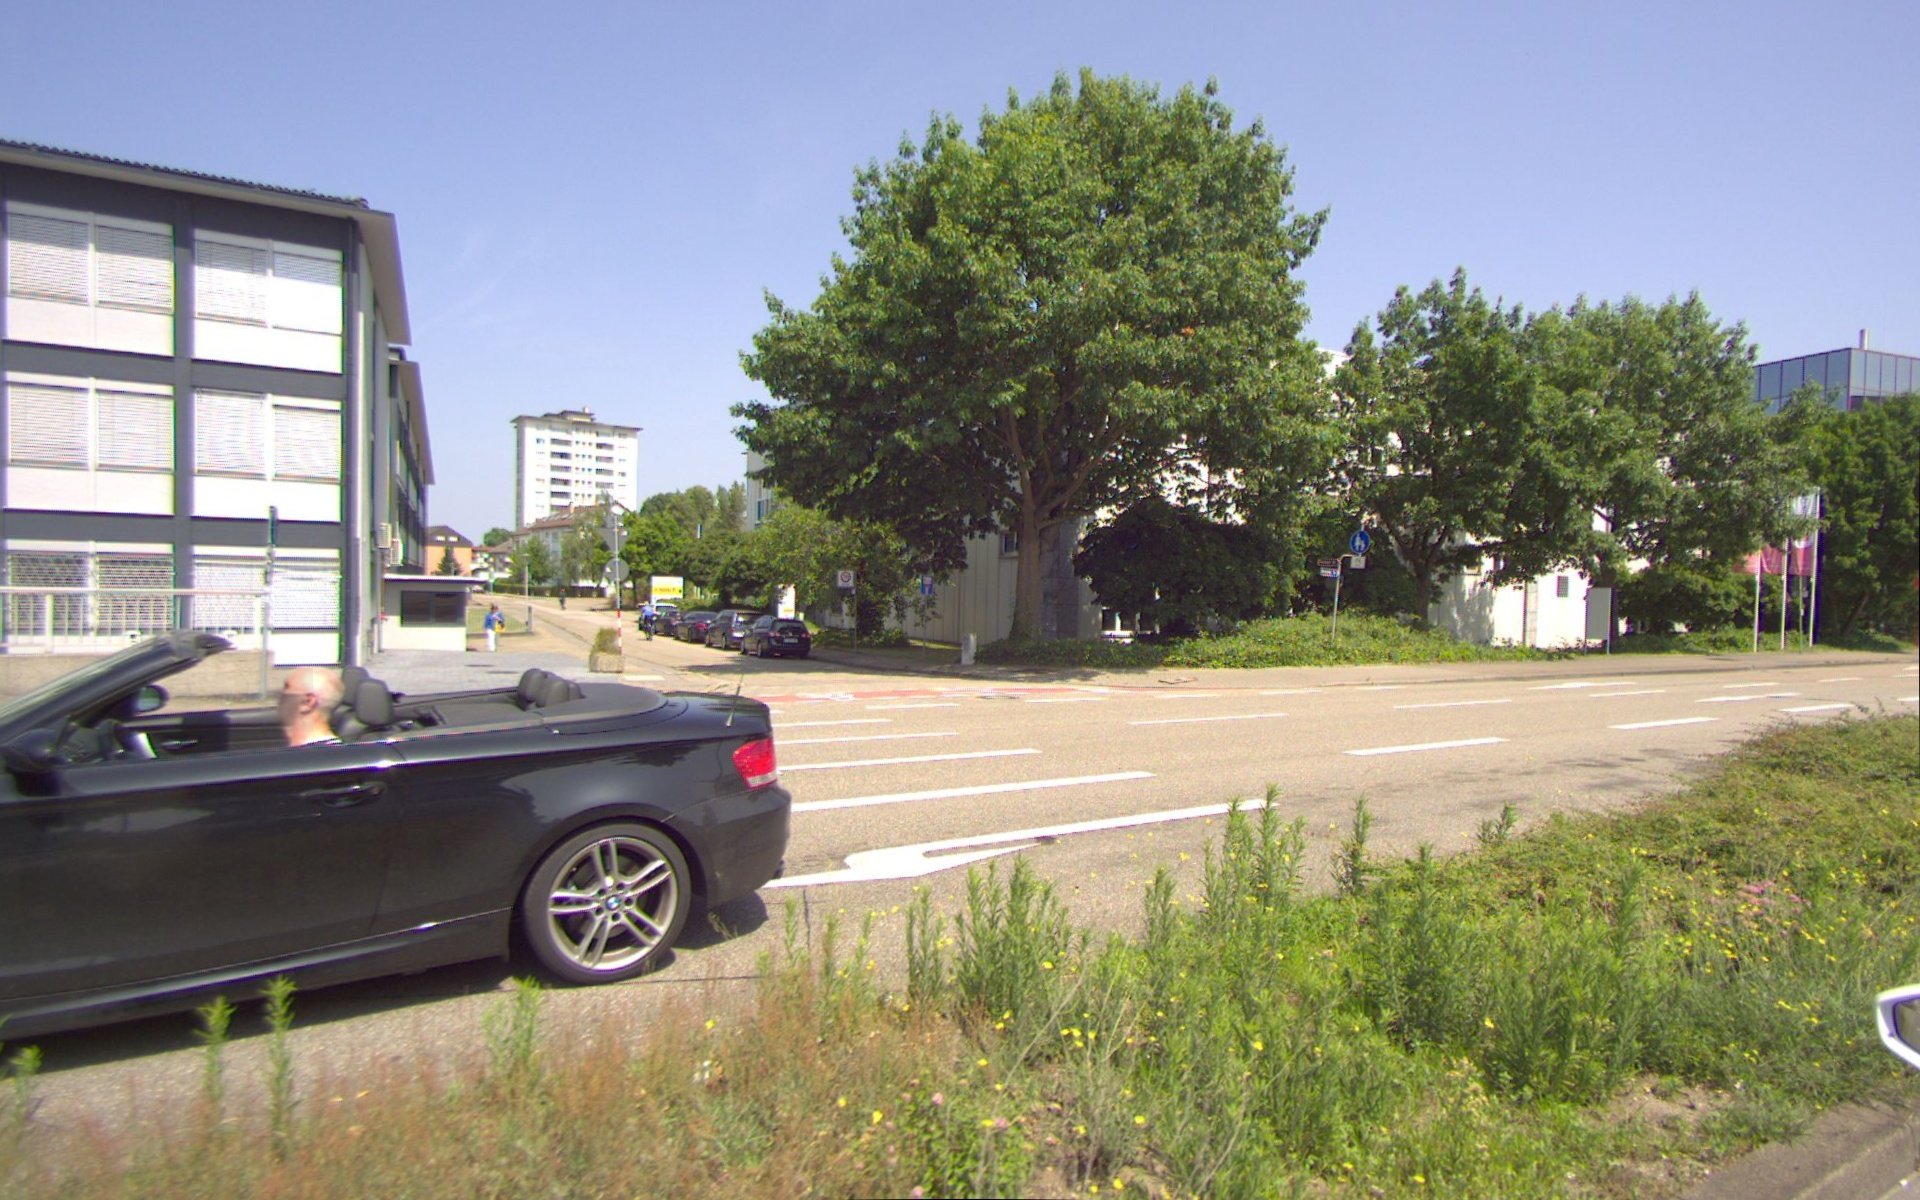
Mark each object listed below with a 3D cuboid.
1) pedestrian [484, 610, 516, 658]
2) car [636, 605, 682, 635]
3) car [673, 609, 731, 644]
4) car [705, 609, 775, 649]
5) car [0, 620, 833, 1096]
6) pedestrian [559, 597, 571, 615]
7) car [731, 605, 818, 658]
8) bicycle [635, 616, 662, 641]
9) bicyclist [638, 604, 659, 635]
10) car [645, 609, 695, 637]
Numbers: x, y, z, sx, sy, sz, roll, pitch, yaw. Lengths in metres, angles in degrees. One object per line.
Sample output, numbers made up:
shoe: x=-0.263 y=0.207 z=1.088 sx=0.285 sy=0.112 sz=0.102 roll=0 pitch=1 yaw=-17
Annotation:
pedestrian: x=-16.060 y=1.178 z=35.086 sx=0.853 sy=1.646 sz=0.677 roll=2 pitch=-1 yaw=-40
car: x=-17.022 y=1.102 z=56.724 sx=1.697 sy=1.595 sz=3.971 roll=1 pitch=-1 yaw=-28
car: x=-12.082 y=1.196 z=46.846 sx=1.696 sy=1.550 sz=3.633 roll=1 pitch=-1 yaw=-30
car: x=-9.219 y=1.180 z=41.857 sx=1.696 sy=1.550 sz=3.968 roll=1 pitch=-1 yaw=-30
car: x=-2.739 y=0.782 z=3.969 sx=4.106 sy=1.341 sz=1.719 roll=2 pitch=-1 yaw=-33
pedestrian: x=-34.530 y=0.532 z=87.801 sx=0.694 sy=1.538 sz=0.648 roll=1 pitch=-1 yaw=-45
car: x=-6.779 y=1.105 z=36.398 sx=1.897 sy=1.617 sz=3.968 roll=2 pitch=2 yaw=-29
bicycle: x=-14.640 y=1.338 z=47.183 sx=0.773 sy=1.128 sz=2.165 roll=2 pitch=-1 yaw=-28
bicyclist: x=-14.640 y=0.895 z=47.213 sx=0.736 sy=1.428 sz=0.854 roll=1 pitch=-1 yaw=-29
car: x=-15.002 y=1.176 z=51.856 sx=1.789 sy=1.389 sz=3.972 roll=1 pitch=-1 yaw=-27
